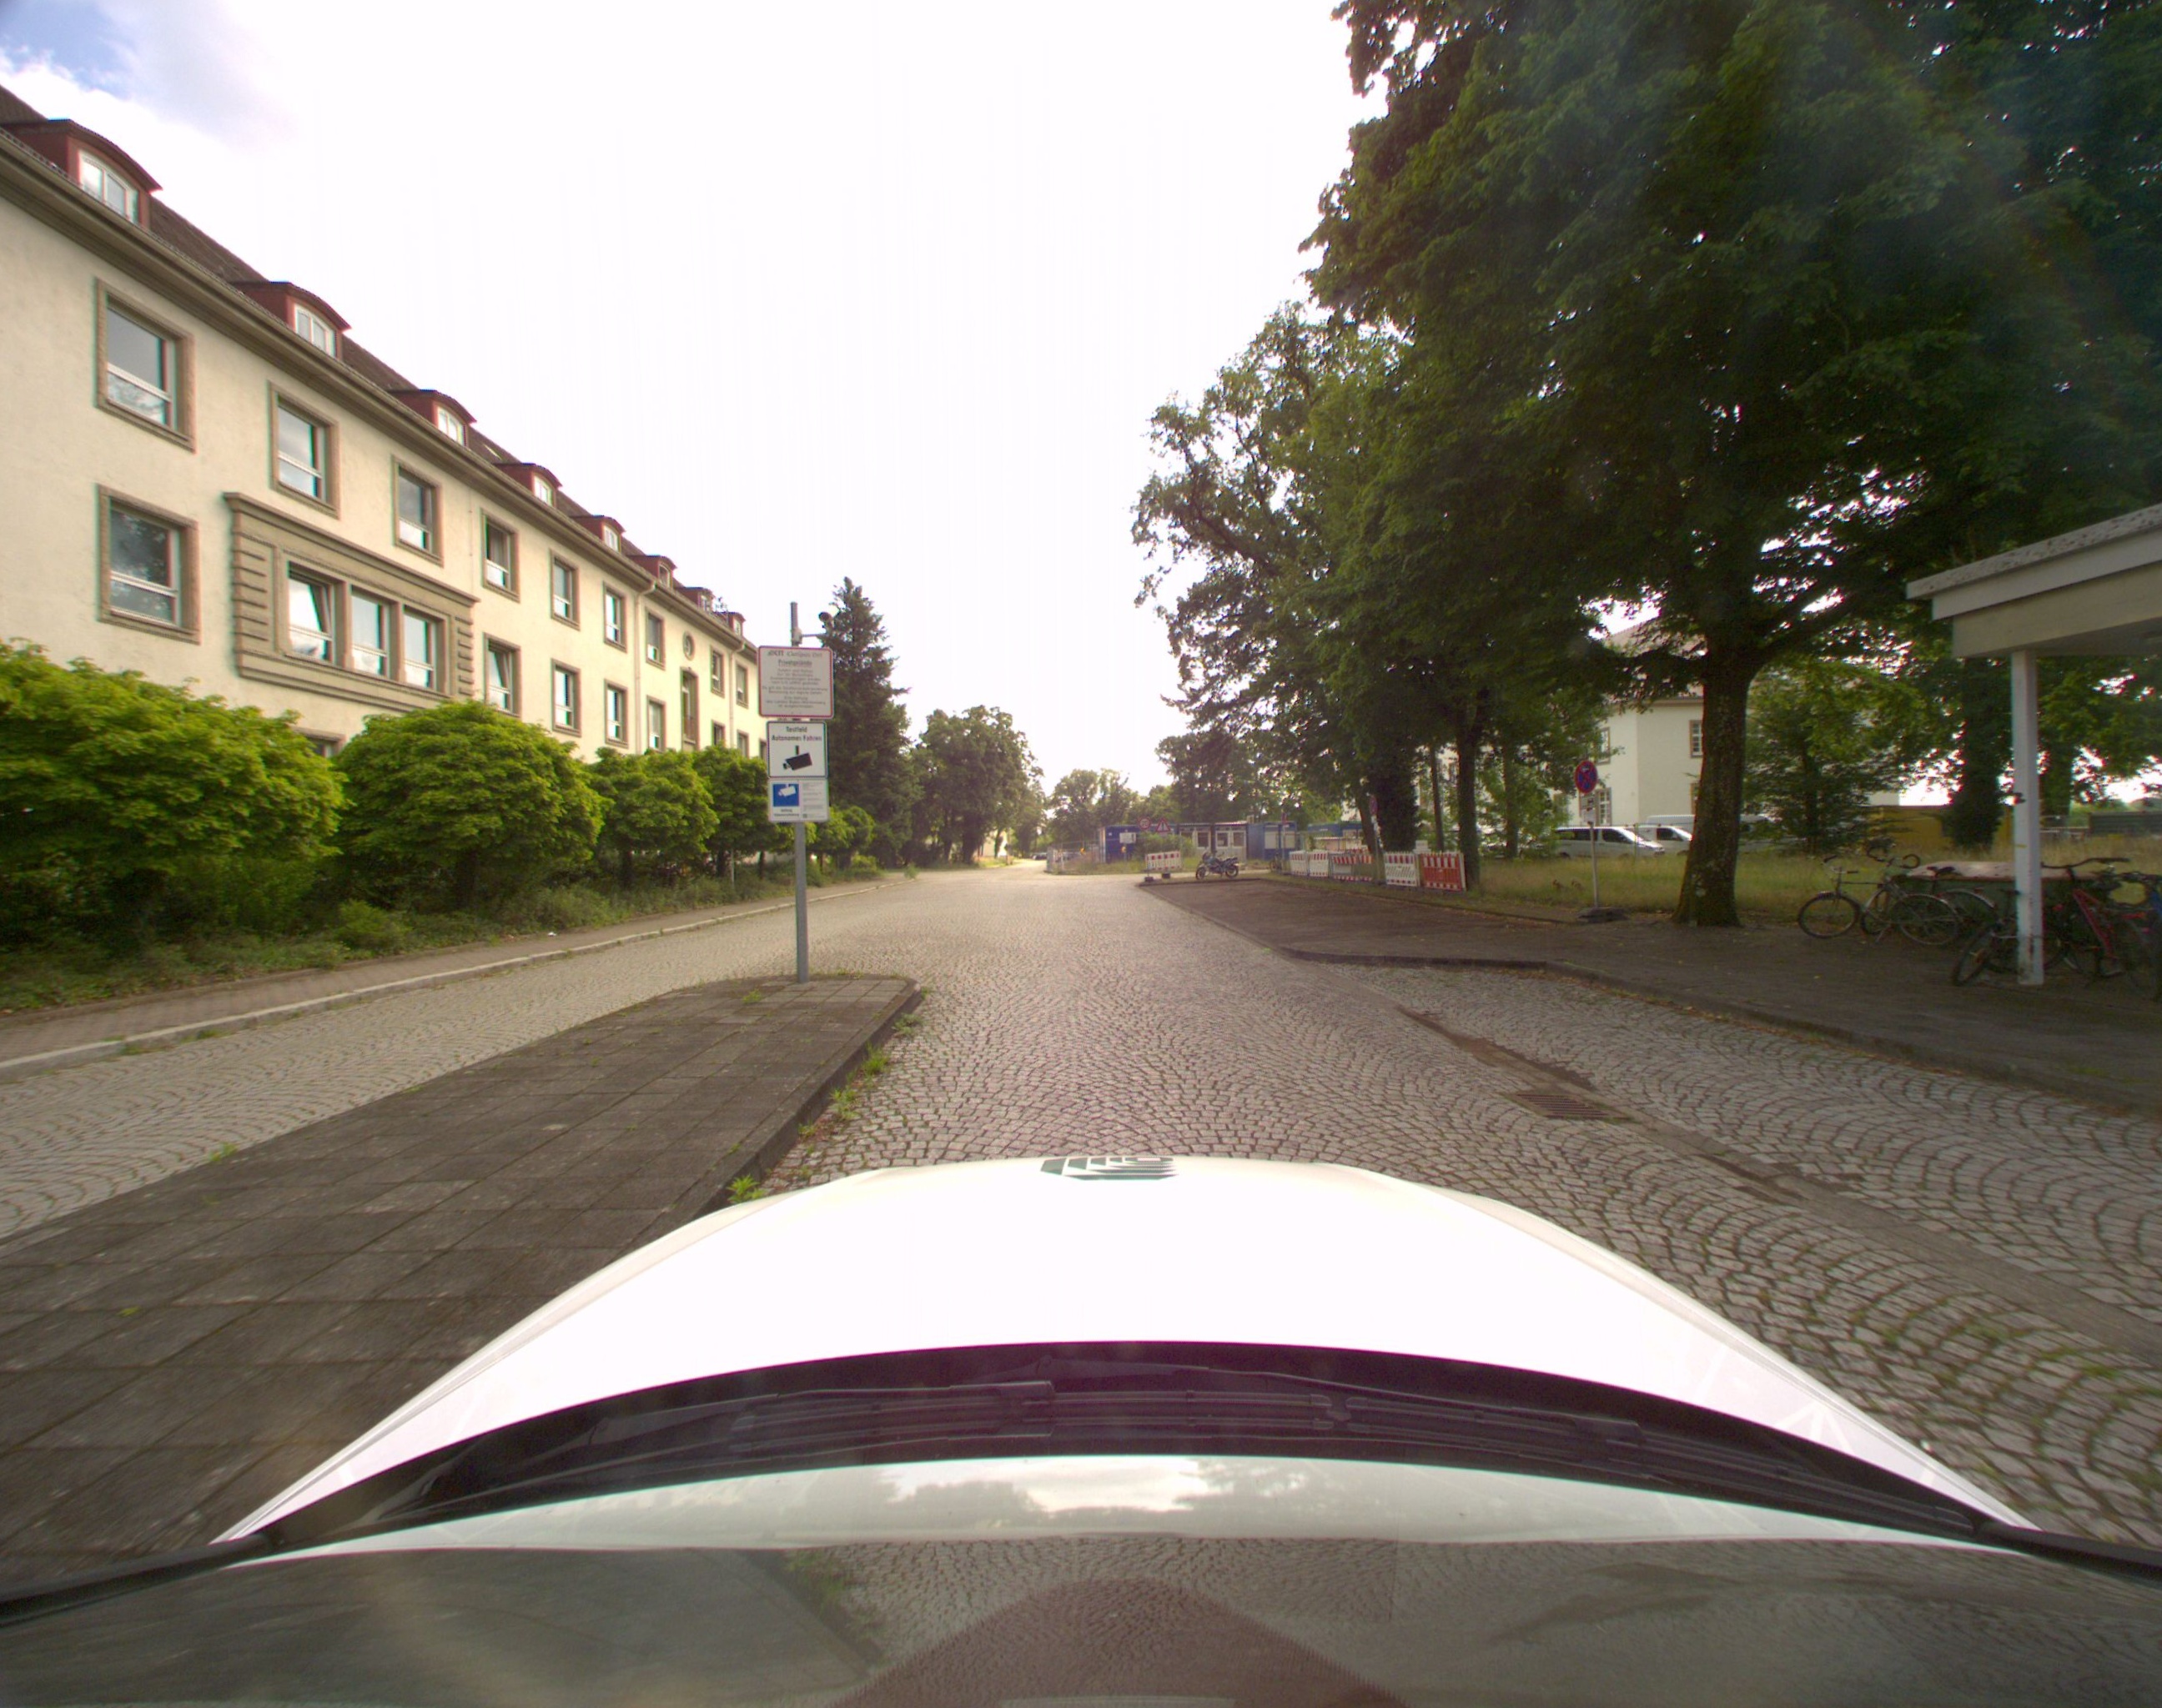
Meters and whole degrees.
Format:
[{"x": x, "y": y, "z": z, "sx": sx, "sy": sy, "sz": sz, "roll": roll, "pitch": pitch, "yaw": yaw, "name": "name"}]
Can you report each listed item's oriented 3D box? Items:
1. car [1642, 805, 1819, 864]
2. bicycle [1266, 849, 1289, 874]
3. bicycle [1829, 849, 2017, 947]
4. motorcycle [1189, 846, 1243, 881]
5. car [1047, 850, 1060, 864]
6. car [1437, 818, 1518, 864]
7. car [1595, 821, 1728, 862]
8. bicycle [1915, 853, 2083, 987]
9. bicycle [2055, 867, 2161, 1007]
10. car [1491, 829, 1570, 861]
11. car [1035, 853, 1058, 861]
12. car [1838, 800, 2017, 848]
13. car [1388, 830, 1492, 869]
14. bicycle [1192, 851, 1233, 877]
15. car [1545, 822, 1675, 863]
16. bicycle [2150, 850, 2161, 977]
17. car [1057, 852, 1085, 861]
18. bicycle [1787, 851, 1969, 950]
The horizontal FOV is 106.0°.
[{"x": 31.063, "y": -0.845, "z": 39.232, "sx": 2.007, "sy": 2.578, "sz": 6.358, "roll": 0, "pitch": -1, "yaw": -32, "name": "car"}, {"x": 9.396, "y": 0.358, "z": 38.983, "sx": 0.640, "sy": 1.169, "sz": 1.904, "roll": -2, "pitch": 0, "yaw": 0, "name": "bicycle"}, {"x": 10.577, "y": 0.511, "z": 10.320, "sx": 0.595, "sy": 1.117, "sz": 1.633, "roll": -3, "pitch": 0, "yaw": -3, "name": "bicycle"}, {"x": 6.179, "y": 0.422, "z": 37.381, "sx": 2.275, "sy": 1.485, "sz": 0.755, "roll": -2, "pitch": 0, "yaw": -8, "name": "motorcycle"}, {"x": -4.328, "y": 0.496, "z": 127.977, "sx": 1.989, "sy": 2.014, "sz": 4.085, "roll": -1, "pitch": 0, "yaw": -4, "name": "car"}, {"x": 23.471, "y": -0.707, "z": 48.500, "sx": 1.987, "sy": 2.556, "sz": 5.908, "roll": 0, "pitch": 0, "yaw": 0, "name": "car"}, {"x": 27.786, "y": -0.534, "z": 39.182, "sx": 2.006, "sy": 1.825, "sz": 4.829, "roll": 0, "pitch": 0, "yaw": -29, "name": "car"}, {"x": 8.647, "y": 0.587, "z": 7.663, "sx": 1.680, "sy": 1.108, "sz": 0.336, "roll": -3, "pitch": 0, "yaw": -16, "name": "bicycle"}, {"x": 8.879, "y": 0.642, "z": 6.782, "sx": 1.753, "sy": 0.976, "sz": 0.751, "roll": -3, "pitch": 0, "yaw": -33, "name": "bicycle"}, {"x": 26.639, "y": -0.503, "z": 48.491, "sx": 1.987, "sy": 1.825, "sz": 4.873, "roll": 0, "pitch": 0, "yaw": -1, "name": "car"}, {"x": -7.415, "y": 0.696, "z": 174.773, "sx": 4.777, "sy": 1.641, "sz": 1.994, "roll": -1, "pitch": -1, "yaw": -8, "name": "car"}, {"x": 39.006, "y": -1.350, "z": 37.636, "sx": 6.125, "sy": 2.095, "sz": 2.211, "roll": 0, "pitch": 0, "yaw": -2, "name": "car"}, {"x": 19.387, "y": -0.257, "z": 44.092, "sx": 4.845, "sy": 1.920, "sz": 1.905, "roll": -1, "pitch": 1, "yaw": -2, "name": "car"}, {"x": 6.420, "y": 0.469, "z": 39.712, "sx": 1.884, "sy": 1.197, "sz": 0.659, "roll": -2, "pitch": 0, "yaw": 17, "name": "bicycle"}, {"x": 25.050, "y": -0.485, "z": 38.738, "sx": 2.006, "sy": 1.825, "sz": 4.829, "roll": 0, "pitch": 0, "yaw": -29, "name": "car"}, {"x": 10.795, "y": 0.506, "z": 7.325, "sx": 1.739, "sy": 1.165, "sz": 0.607, "roll": -3, "pitch": 0, "yaw": -7, "name": "bicycle"}, {"x": -1.625, "y": 0.413, "z": 133.827, "sx": 4.381, "sy": 1.510, "sz": 2.003, "roll": 0, "pitch": 0, "yaw": 5, "name": "car"}, {"x": 9.953, "y": 0.539, "z": 10.257, "sx": 0.595, "sy": 1.117, "sz": 1.633, "roll": -3, "pitch": 0, "yaw": -3, "name": "bicycle"}]
